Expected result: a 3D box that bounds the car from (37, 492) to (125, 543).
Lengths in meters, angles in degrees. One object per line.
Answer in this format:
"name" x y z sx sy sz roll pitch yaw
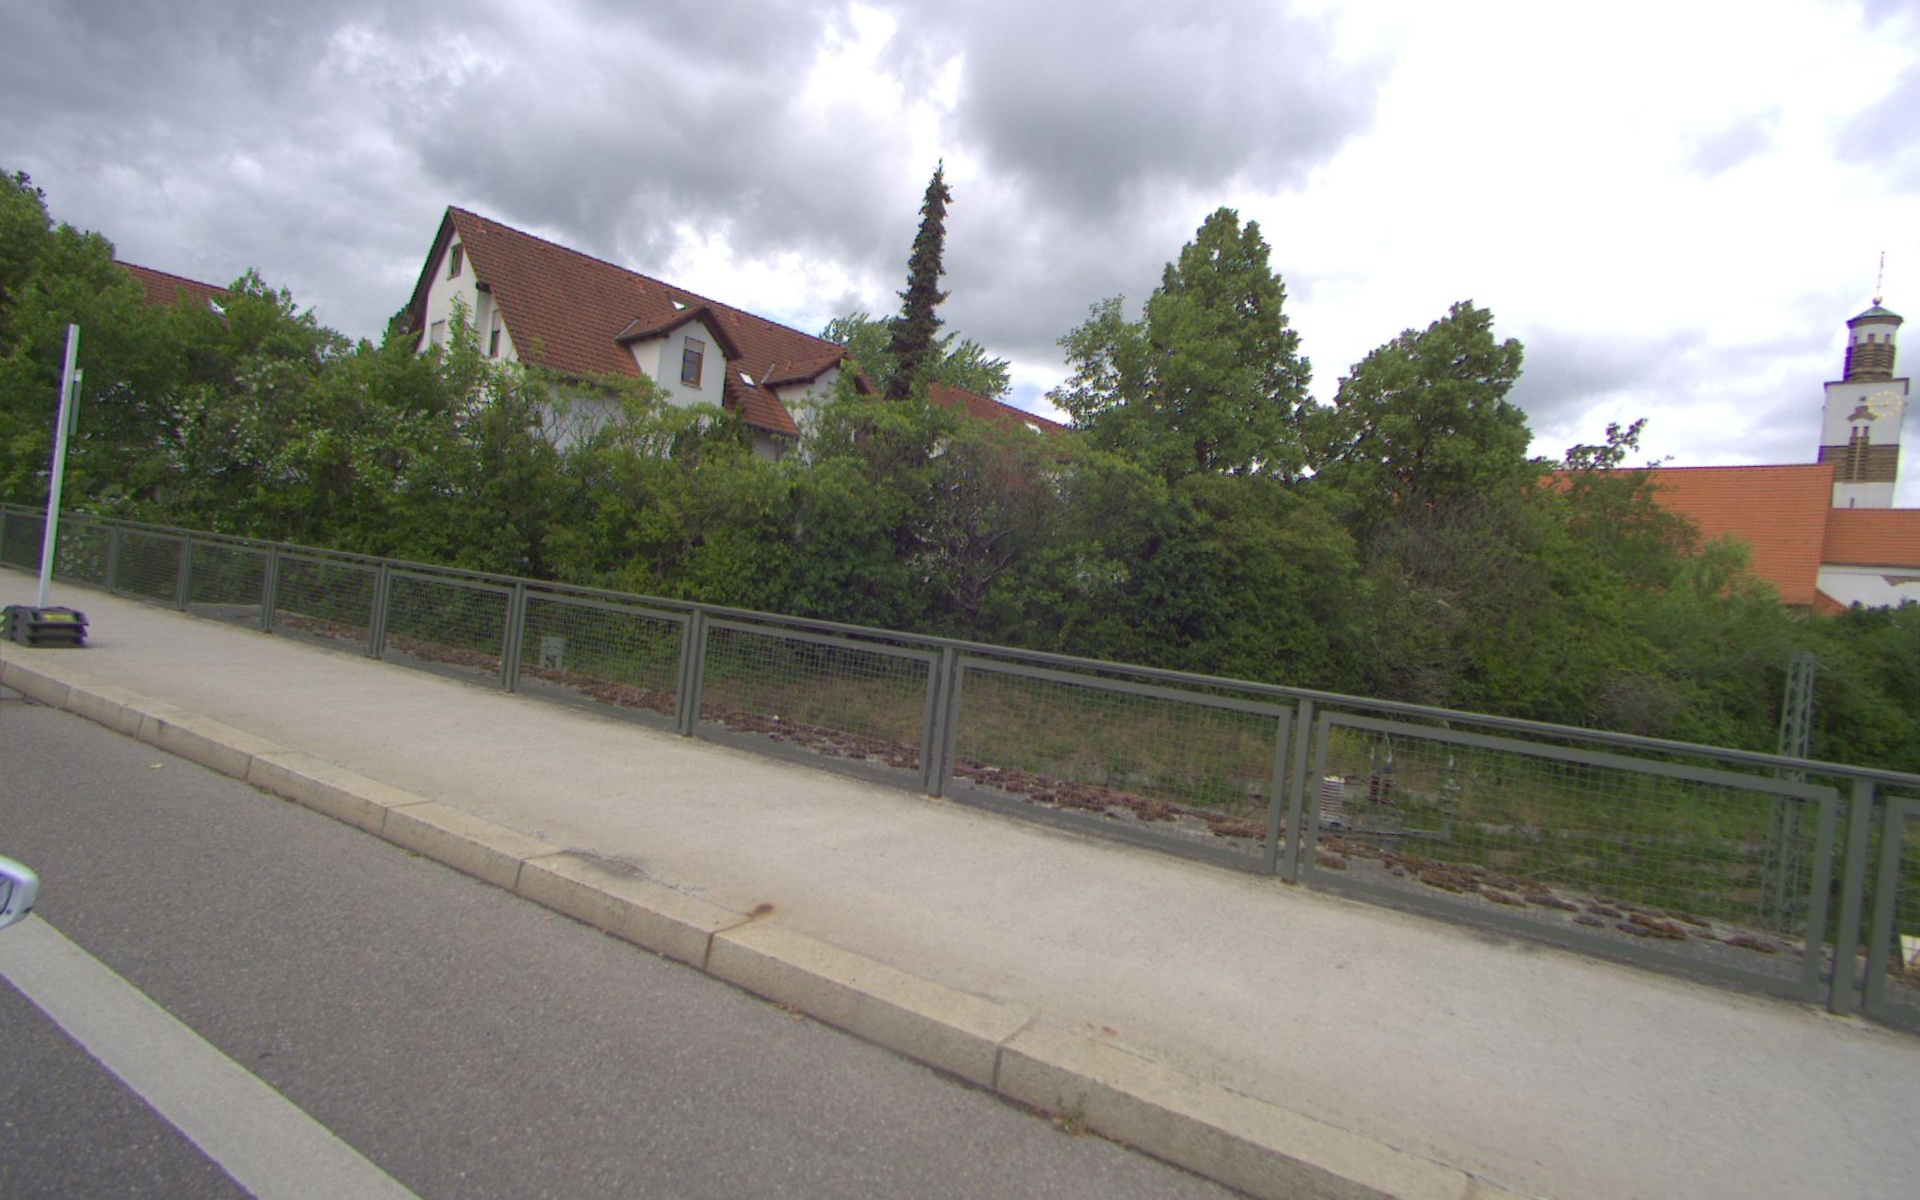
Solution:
"car" -30.874 -2.901 35.305 3.943 1.468 1.665 6 1 40
